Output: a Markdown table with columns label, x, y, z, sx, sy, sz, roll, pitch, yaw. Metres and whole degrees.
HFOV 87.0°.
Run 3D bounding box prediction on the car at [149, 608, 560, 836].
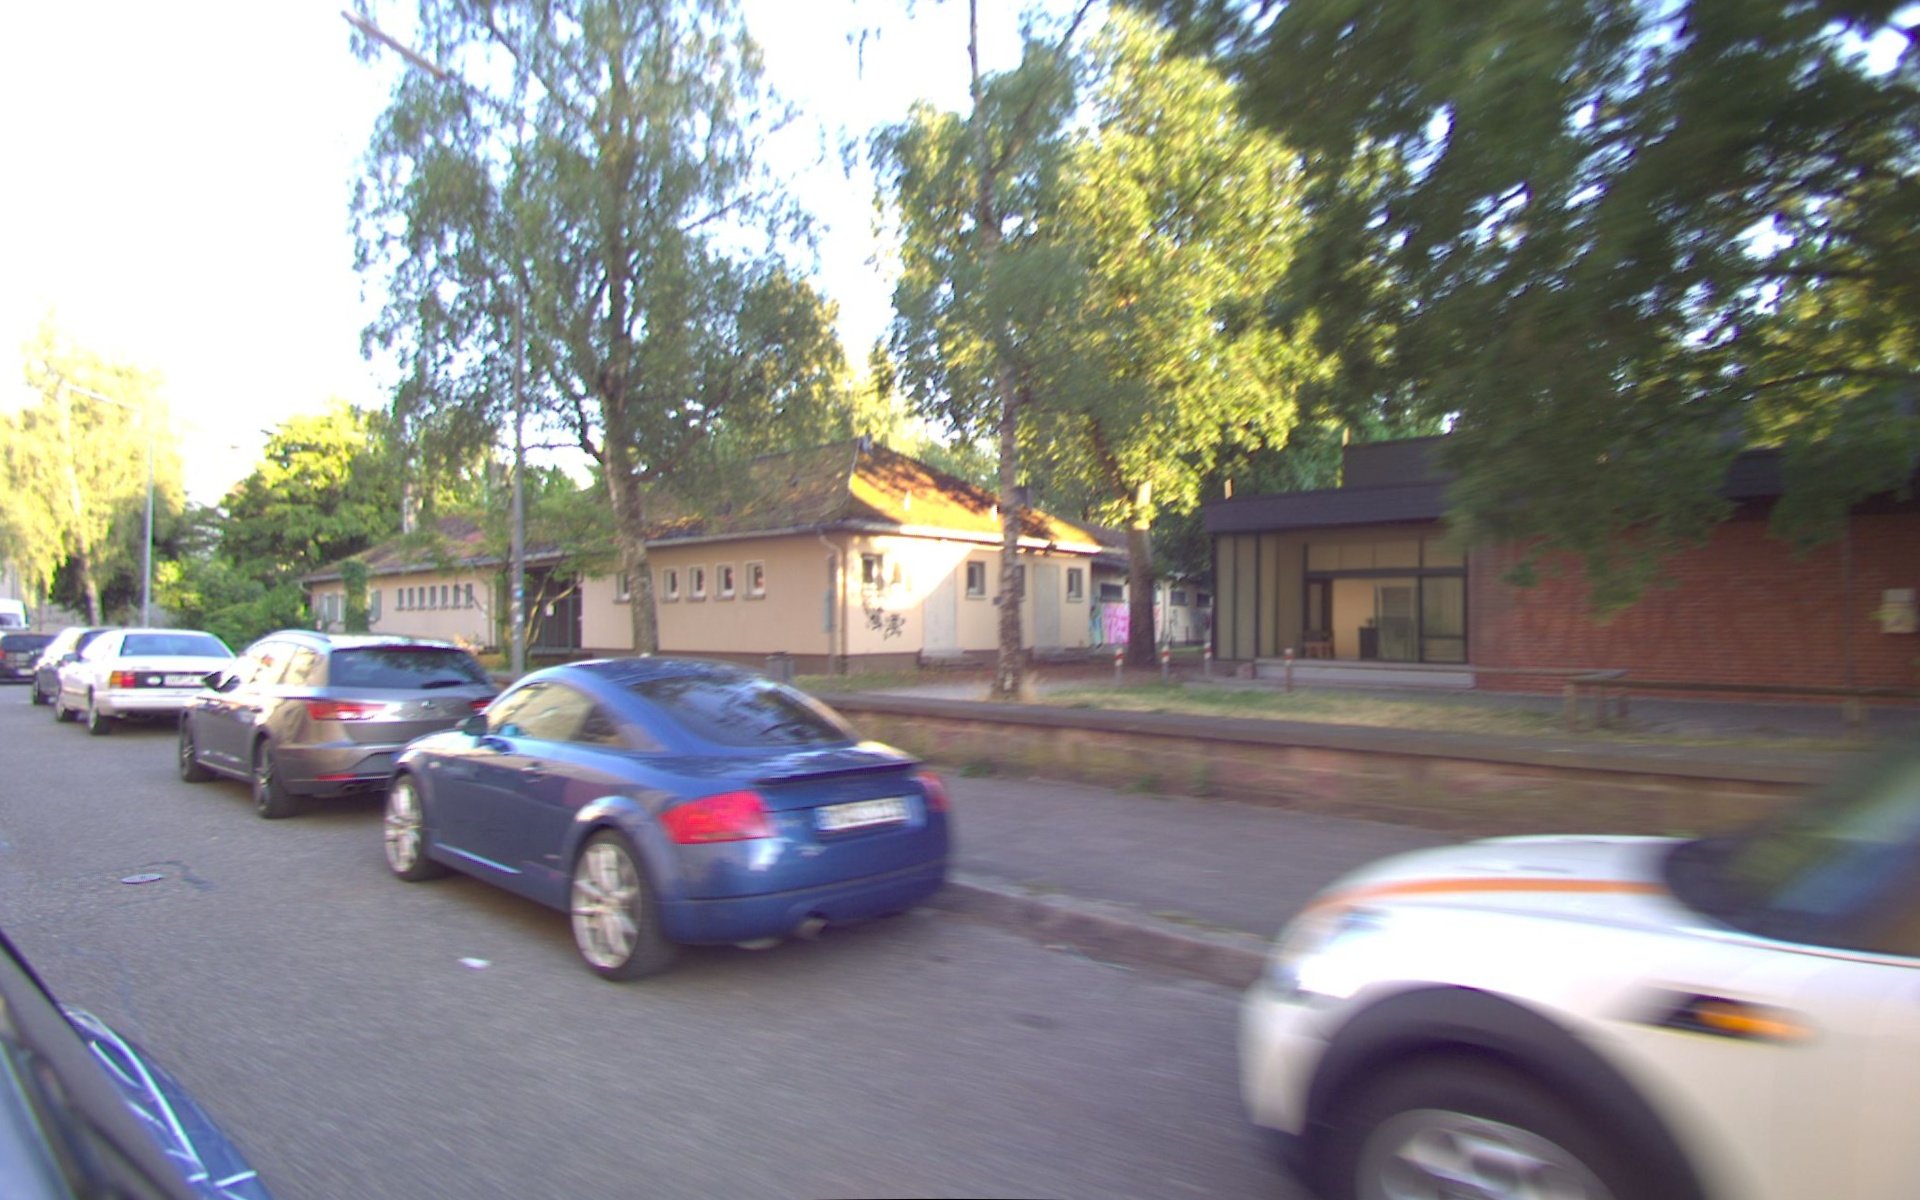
| label | x | y | z | sx | sy | sz | roll | pitch | yaw |
| --- | --- | --- | --- | --- | --- | --- | --- | --- | --- |
| car | -5.683 | 0.915 | 9.205 | 4.757 | 1.550 | 1.840 | -2 | -3 | 42 |

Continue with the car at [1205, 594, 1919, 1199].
| label | x | y | z | sx | sy | sz | roll | pitch | yaw |
| --- | --- | --- | --- | --- | --- | --- | --- | --- | --- |
| car | 2.506 | 0.752 | 1.648 | 3.801 | 1.442 | 1.584 | -1 | -5 | 41 |

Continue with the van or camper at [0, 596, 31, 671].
| label | x | y | z | sx | sy | sz | roll | pitch | yaw |
| --- | --- | --- | --- | --- | --- | --- | --- | --- | --- |
| van or camper | -33.942 | 1.163 | 35.075 | 6.081 | 2.475 | 1.972 | -2 | -3 | 42 |

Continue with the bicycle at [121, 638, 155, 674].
| label | x | y | z | sx | sy | sz | roll | pitch | yaw |
| --- | --- | --- | --- | --- | --- | --- | --- | --- | --- |
| bicycle | -26.504 | 1.787 | 32.626 | 1.954 | 1.126 | 0.537 | -2 | -1 | 41 |

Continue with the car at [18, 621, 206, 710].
| label | x | y | z | sx | sy | sz | roll | pitch | yaw |
| --- | --- | --- | --- | --- | --- | --- | --- | --- | --- |
| car | -15.769 | 1.133 | 18.763 | 3.996 | 1.464 | 1.974 | -2 | -2 | 39 |

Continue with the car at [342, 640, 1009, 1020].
| label | x | y | z | sx | sy | sz | roll | pitch | yaw |
| --- | --- | --- | --- | --- | --- | --- | --- | --- | --- |
| car | -1.841 | 0.906 | 5.639 | 4.154 | 1.323 | 1.641 | -2 | -4 | 43 |

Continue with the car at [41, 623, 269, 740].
| label | x | y | z | sx | sy | sz | roll | pitch | yaw |
| --- | --- | --- | --- | --- | --- | --- | --- | --- | --- |
| car | -11.925 | 1.122 | 14.866 | 4.747 | 1.457 | 1.763 | -2 | -5 | 42 |

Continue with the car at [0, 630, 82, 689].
| label | x | y | z | sx | sy | sz | roll | pitch | yaw |
| --- | --- | --- | --- | --- | --- | --- | --- | --- | --- |
| car | -25.108 | 1.537 | 27.067 | 4.288 | 1.464 | 1.972 | -2 | -2 | 43 |

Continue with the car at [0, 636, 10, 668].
| label | x | y | z | sx | sy | sz | roll | pitch | yaw |
| --- | --- | --- | --- | --- | --- | --- | --- | --- | --- |
| car | -38.176 | 2.004 | 38.762 | 4.029 | 1.198 | 1.975 | -1 | -2 | 37 |

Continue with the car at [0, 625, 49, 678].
| label | x | y | z | sx | sy | sz | roll | pitch | yaw |
| --- | --- | --- | --- | --- | --- | --- | --- | --- | --- |
| car | -29.560 | 1.537 | 31.043 | 4.788 | 1.530 | 1.972 | -2 | -2 | 43 |
